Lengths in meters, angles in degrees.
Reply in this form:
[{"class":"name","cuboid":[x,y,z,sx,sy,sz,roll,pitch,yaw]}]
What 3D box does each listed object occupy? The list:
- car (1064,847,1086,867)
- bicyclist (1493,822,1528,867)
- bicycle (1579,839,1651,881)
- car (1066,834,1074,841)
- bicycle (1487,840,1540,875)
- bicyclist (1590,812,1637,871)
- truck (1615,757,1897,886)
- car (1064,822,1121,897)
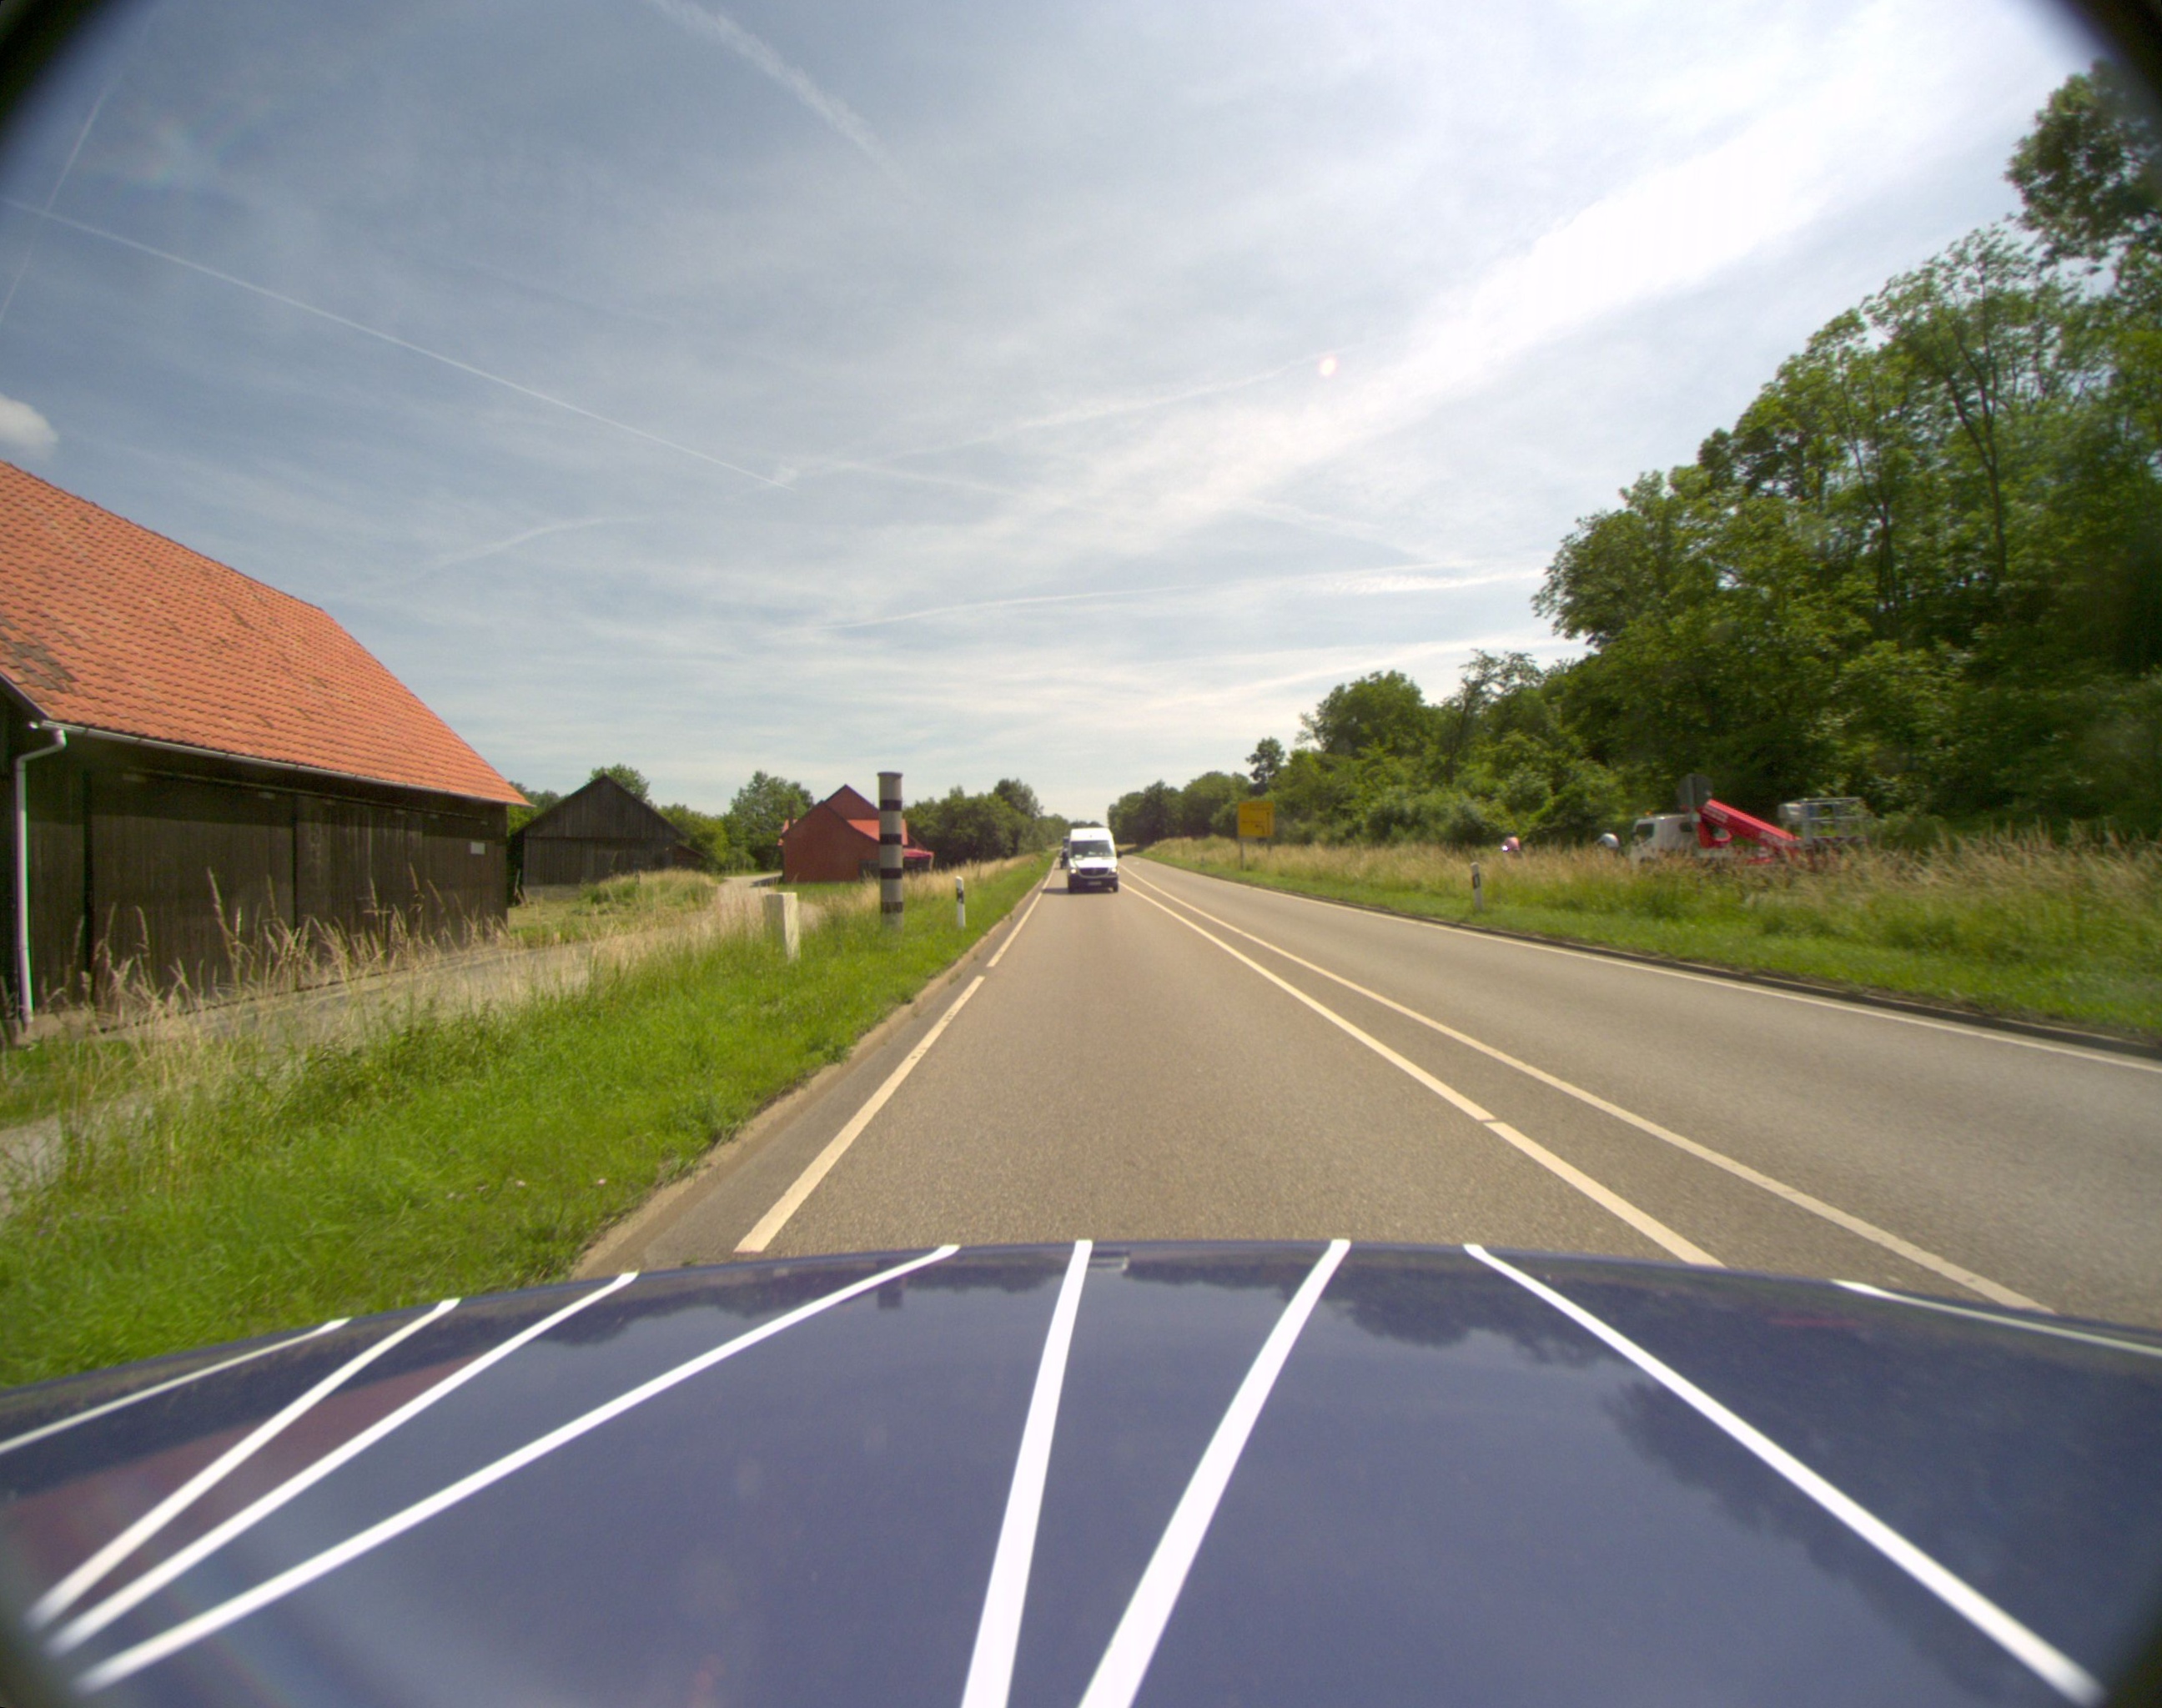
[{"class":"car","cuboid":[-0.495,0.305,69.522,1.848,1.691,4.244,-1,-1,1]},{"class":"bicyclist","cuboid":[15.949,-0.350,28.220,0.750,1.586,0.936,-3,1,2]},{"class":"bicycle","cuboid":[15.996,0.171,22.836,0.750,1.174,2.105,-3,1,4]},{"class":"car","cuboid":[-3.368,-5.194,236.183,1.998,2.166,4.000,-2,0,2]},{"class":"bicycle","cuboid":[15.979,0.103,28.134,0.750,1.205,2.105,-3,1,2]},{"class":"bicyclist","cuboid":[15.968,-0.372,22.802,0.749,1.704,0.936,-3,1,4]},{"class":"truck","cuboid":[18.318,-0.803,21.319,2.031,2.946,6.774,-3,1,2]},{"class":"car","cuboid":[0.501,0.165,30.523,1.960,2.655,5.680,-3,1,1]}]
